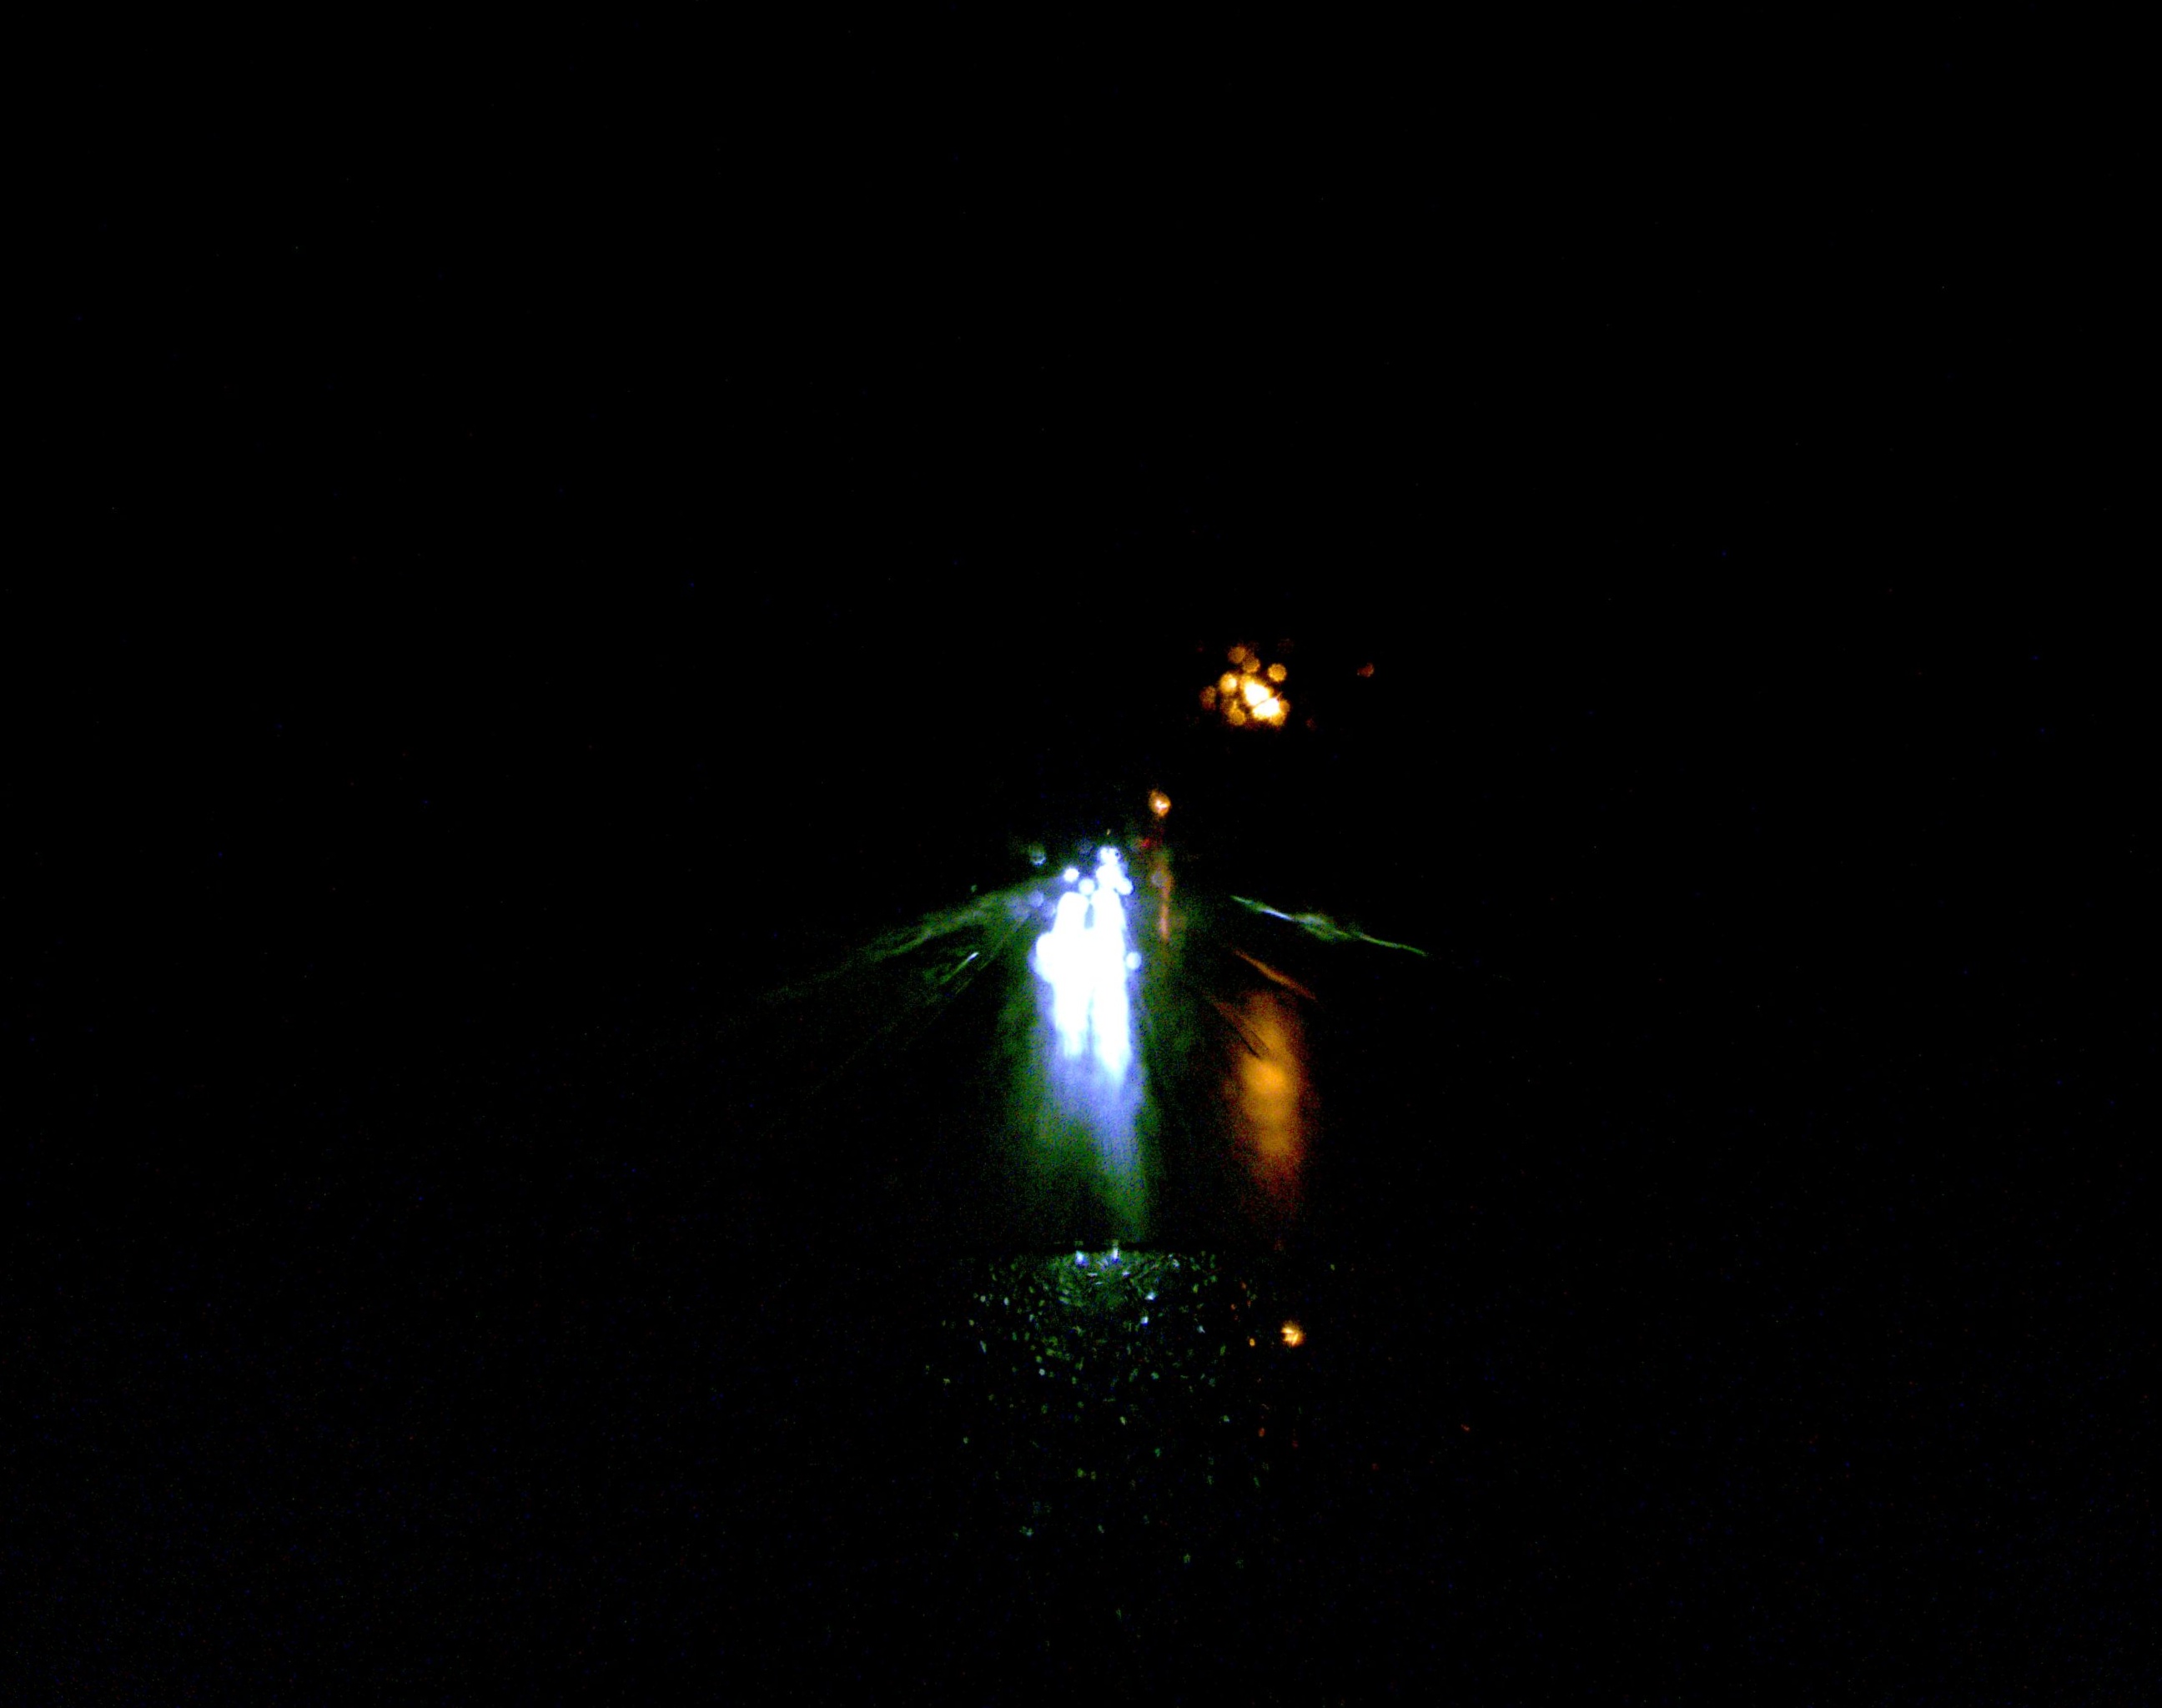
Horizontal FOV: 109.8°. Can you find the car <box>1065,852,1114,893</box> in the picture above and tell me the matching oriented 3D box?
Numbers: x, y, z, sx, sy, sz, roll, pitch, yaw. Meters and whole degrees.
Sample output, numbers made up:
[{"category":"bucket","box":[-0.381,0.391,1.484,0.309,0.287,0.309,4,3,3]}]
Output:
[{"category":"car","box":[0.427,0.783,33.494,1.944,1.580,4.776,-3,-1,2]}]

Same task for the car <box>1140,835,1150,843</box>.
[{"category":"car","box":[12.608,-3.041,150.170,1.919,1.467,4.203,-3,2,5]}]
